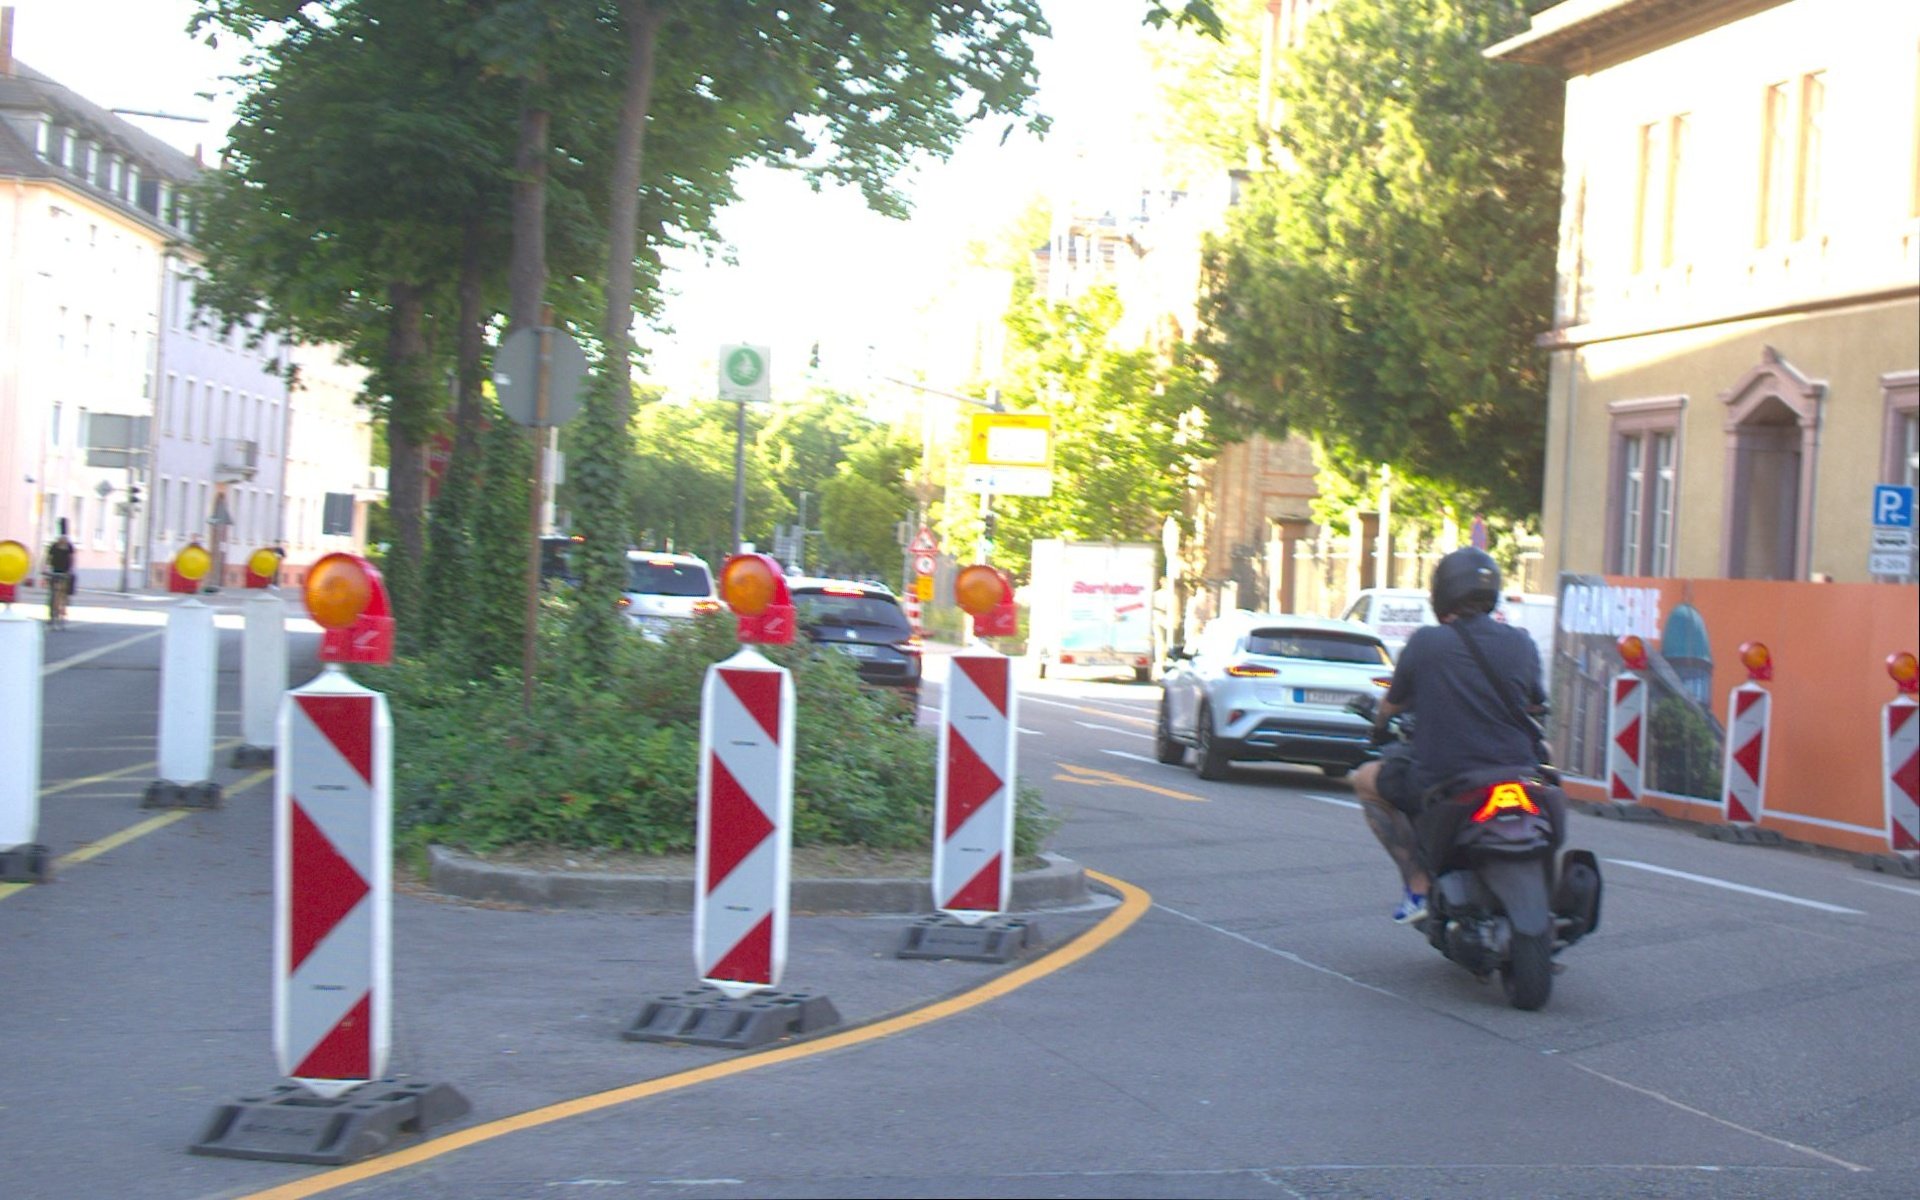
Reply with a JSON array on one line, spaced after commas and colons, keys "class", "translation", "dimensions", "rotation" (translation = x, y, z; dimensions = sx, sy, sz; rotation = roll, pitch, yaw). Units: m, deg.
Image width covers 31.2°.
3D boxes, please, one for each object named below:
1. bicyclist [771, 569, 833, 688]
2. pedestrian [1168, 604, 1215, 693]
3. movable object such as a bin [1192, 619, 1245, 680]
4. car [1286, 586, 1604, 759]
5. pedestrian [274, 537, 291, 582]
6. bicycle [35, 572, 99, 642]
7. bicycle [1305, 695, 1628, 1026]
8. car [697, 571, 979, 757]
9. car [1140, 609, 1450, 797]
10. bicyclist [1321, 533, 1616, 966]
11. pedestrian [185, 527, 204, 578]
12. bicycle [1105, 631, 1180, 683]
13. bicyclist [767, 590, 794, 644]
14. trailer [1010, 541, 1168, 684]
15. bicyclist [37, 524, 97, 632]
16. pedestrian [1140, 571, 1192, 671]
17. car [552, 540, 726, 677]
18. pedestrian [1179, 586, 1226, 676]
[{"class": "bicyclist", "translation": [-2.281, 0.407, 49.491], "dimensions": [0.672, 1.647, 0.887], "rotation": [4, 0, -9]}, {"class": "pedestrian", "translation": [4.683, 0.977, 69.575], "dimensions": [0.640, 1.762, 0.736], "rotation": [3, 0, 23]}, {"class": "movable object such as a bin", "translation": [4.962, 0.944, 66.025], "dimensions": [0.711, 1.114, 1.051], "rotation": [2, 1, -12]}, {"class": "car", "translation": [6.246, 0.895, 45.059], "dimensions": [2.014, 1.939, 5.483], "rotation": [5, -1, -15]}, {"class": "pedestrian", "translation": [-25.484, -1.524, 129.267], "dimensions": [0.480, 1.652, 0.472], "rotation": [3, 0, -5]}, {"class": "bicycle", "translation": [-15.374, 0.111, 59.236], "dimensions": [0.880, 1.190, 2.176], "rotation": [1, 0, -10]}, {"class": "bicycle", "translation": [1.912, 0.953, 13.373], "dimensions": [0.870, 1.039, 2.453], "rotation": [5, 0, 2]}, {"class": "car", "translation": [-1.345, 0.601, 35.443], "dimensions": [1.993, 1.652, 4.738], "rotation": [4, 0, -12]}, {"class": "car", "translation": [2.914, 0.866, 30.745], "dimensions": [1.993, 1.448, 4.001], "rotation": [3, 0, -5]}, {"class": "bicyclist", "translation": [1.937, 0.555, 13.289], "dimensions": [0.867, 1.518, 1.231], "rotation": [5, 0, 3]}, {"class": "pedestrian", "translation": [-25.579, -1.584, 114.940], "dimensions": [0.480, 1.652, 0.472], "rotation": [3, 0, -5]}, {"class": "bicycle", "translation": [3.886, 1.217, 73.198], "dimensions": [1.465, 1.035, 0.479], "rotation": [3, 0, -9]}, {"class": "bicyclist", "translation": [-5.582, 0.526, 106.858], "dimensions": [0.636, 1.609, 1.284], "rotation": [5, 0, -6]}, {"class": "trailer", "translation": [2.367, 0.192, 64.330], "dimensions": [2.079, 2.520, 4.493], "rotation": [2, 1, -9]}, {"class": "bicyclist", "translation": [-15.355, -0.371, 59.154], "dimensions": [0.880, 1.828, 1.286], "rotation": [1, 0, -10]}, {"class": "pedestrian", "translation": [3.990, 0.409, 66.654], "dimensions": [0.715, 1.888, 0.890], "rotation": [3, 1, -12]}, {"class": "car", "translation": [-4.634, 0.085, 49.045], "dimensions": [1.990, 1.743, 4.749], "rotation": [3, 0, -10]}, {"class": "pedestrian", "translation": [4.721, 0.598, 66.885], "dimensions": [0.682, 1.695, 0.694], "rotation": [3, 1, -11]}]
